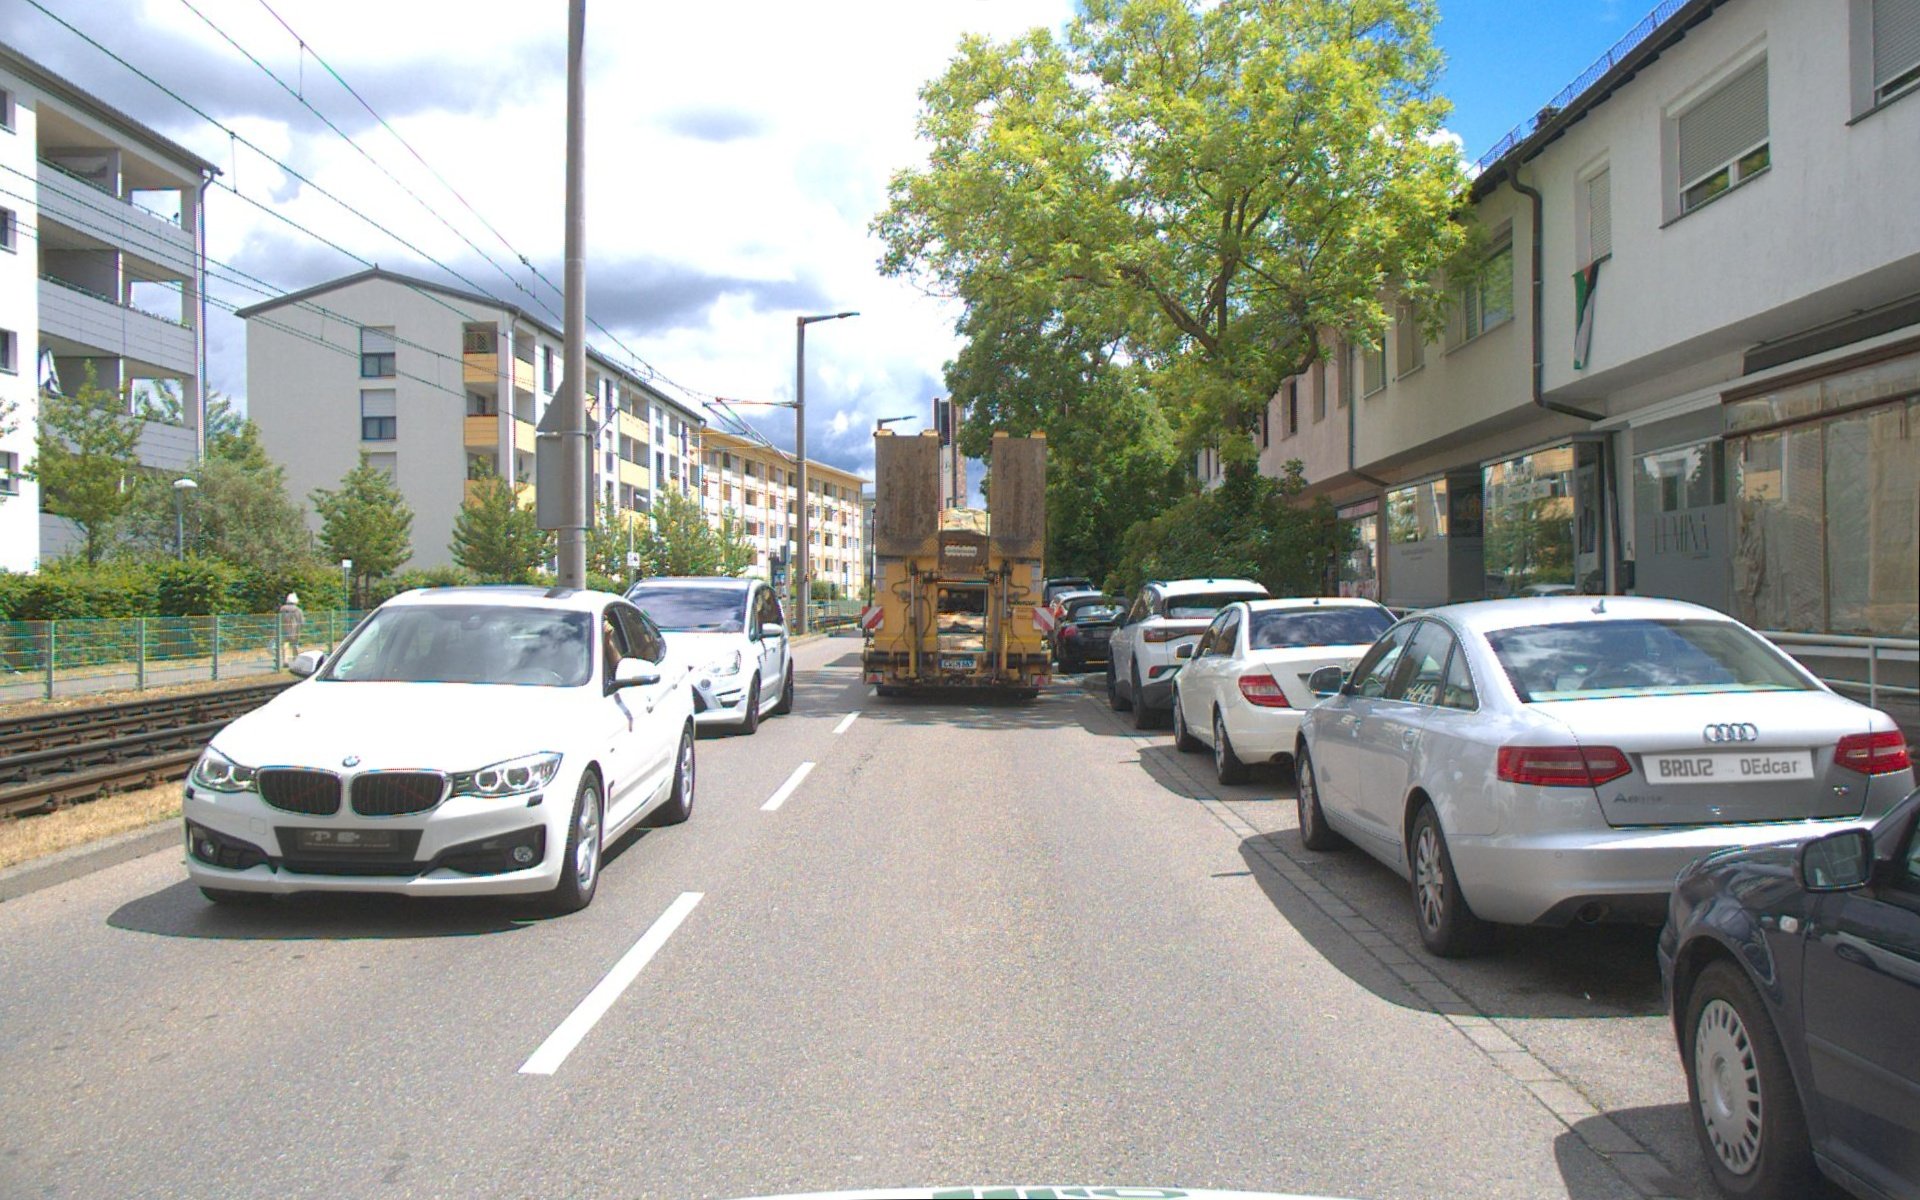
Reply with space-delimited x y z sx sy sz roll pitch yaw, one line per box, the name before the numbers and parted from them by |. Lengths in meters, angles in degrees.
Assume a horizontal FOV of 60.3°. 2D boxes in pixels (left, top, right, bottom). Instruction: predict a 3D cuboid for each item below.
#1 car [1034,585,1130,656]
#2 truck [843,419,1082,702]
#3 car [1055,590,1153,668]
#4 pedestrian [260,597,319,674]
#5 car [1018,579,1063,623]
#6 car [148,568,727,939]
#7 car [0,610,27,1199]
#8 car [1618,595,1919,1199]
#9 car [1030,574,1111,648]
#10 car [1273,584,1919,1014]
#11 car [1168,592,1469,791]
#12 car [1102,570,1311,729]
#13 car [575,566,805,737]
car | 2.734 0.449 37.835 1.735 1.467 3.898 -3 0 -2
truck | -0.031 -0.538 27.484 3.060 3.627 12.457 0 0 -1
car | 2.797 0.531 32.535 1.734 1.373 4.002 -3 0 4
pedestrian | -13.435 0.702 33.174 0.780 1.509 0.995 0 0 -1
car | 3.788 0.031 78.491 1.875 1.993 5.745 -1 0 1
car | -2.543 0.640 9.396 1.780 1.529 4.836 1 0 -1
car | -2.790 0.746 1.530 1.711 1.431 3.939 0 0 -2
car | 2.761 0.738 2.850 1.776 1.489 4.042 0 0 2
car | 2.879 0.264 44.090 1.973 1.820 5.077 -1 0 2
car | 2.846 0.695 8.332 1.776 1.525 4.912 0 0 2
car | 2.905 0.662 14.317 1.689 1.451 4.446 0 0 1
car | 2.797 0.513 19.719 1.800 1.672 4.429 0 0 0
car | -2.870 0.494 18.556 1.780 1.642 4.601 1 0 0
